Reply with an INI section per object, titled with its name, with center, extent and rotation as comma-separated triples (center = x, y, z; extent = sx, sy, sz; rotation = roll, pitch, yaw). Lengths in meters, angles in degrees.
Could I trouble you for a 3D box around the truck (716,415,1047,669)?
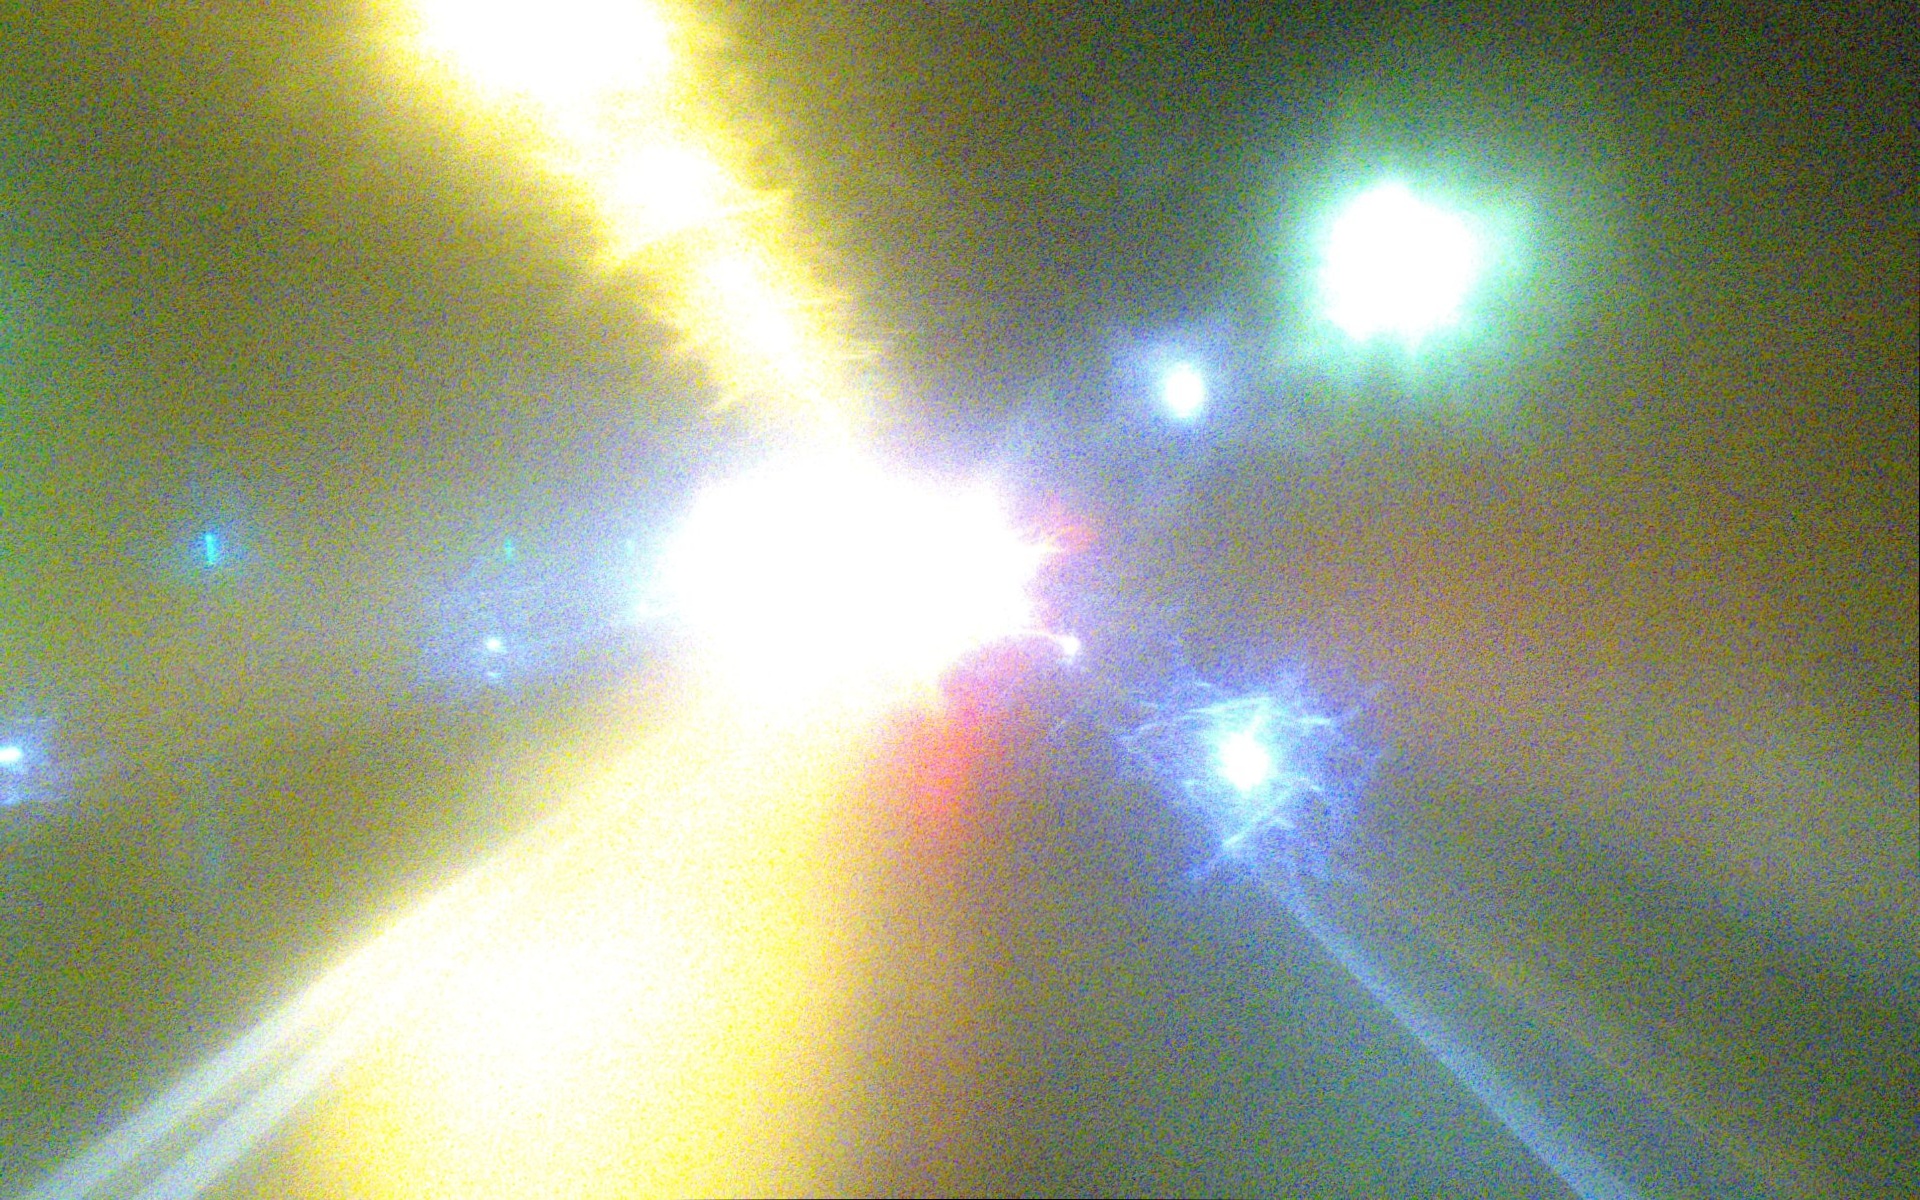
[truck]
center = -0.882, -0.690, 41.421
extent = 3.535, 2.684, 8.956
rotation = 1, 1, 0
